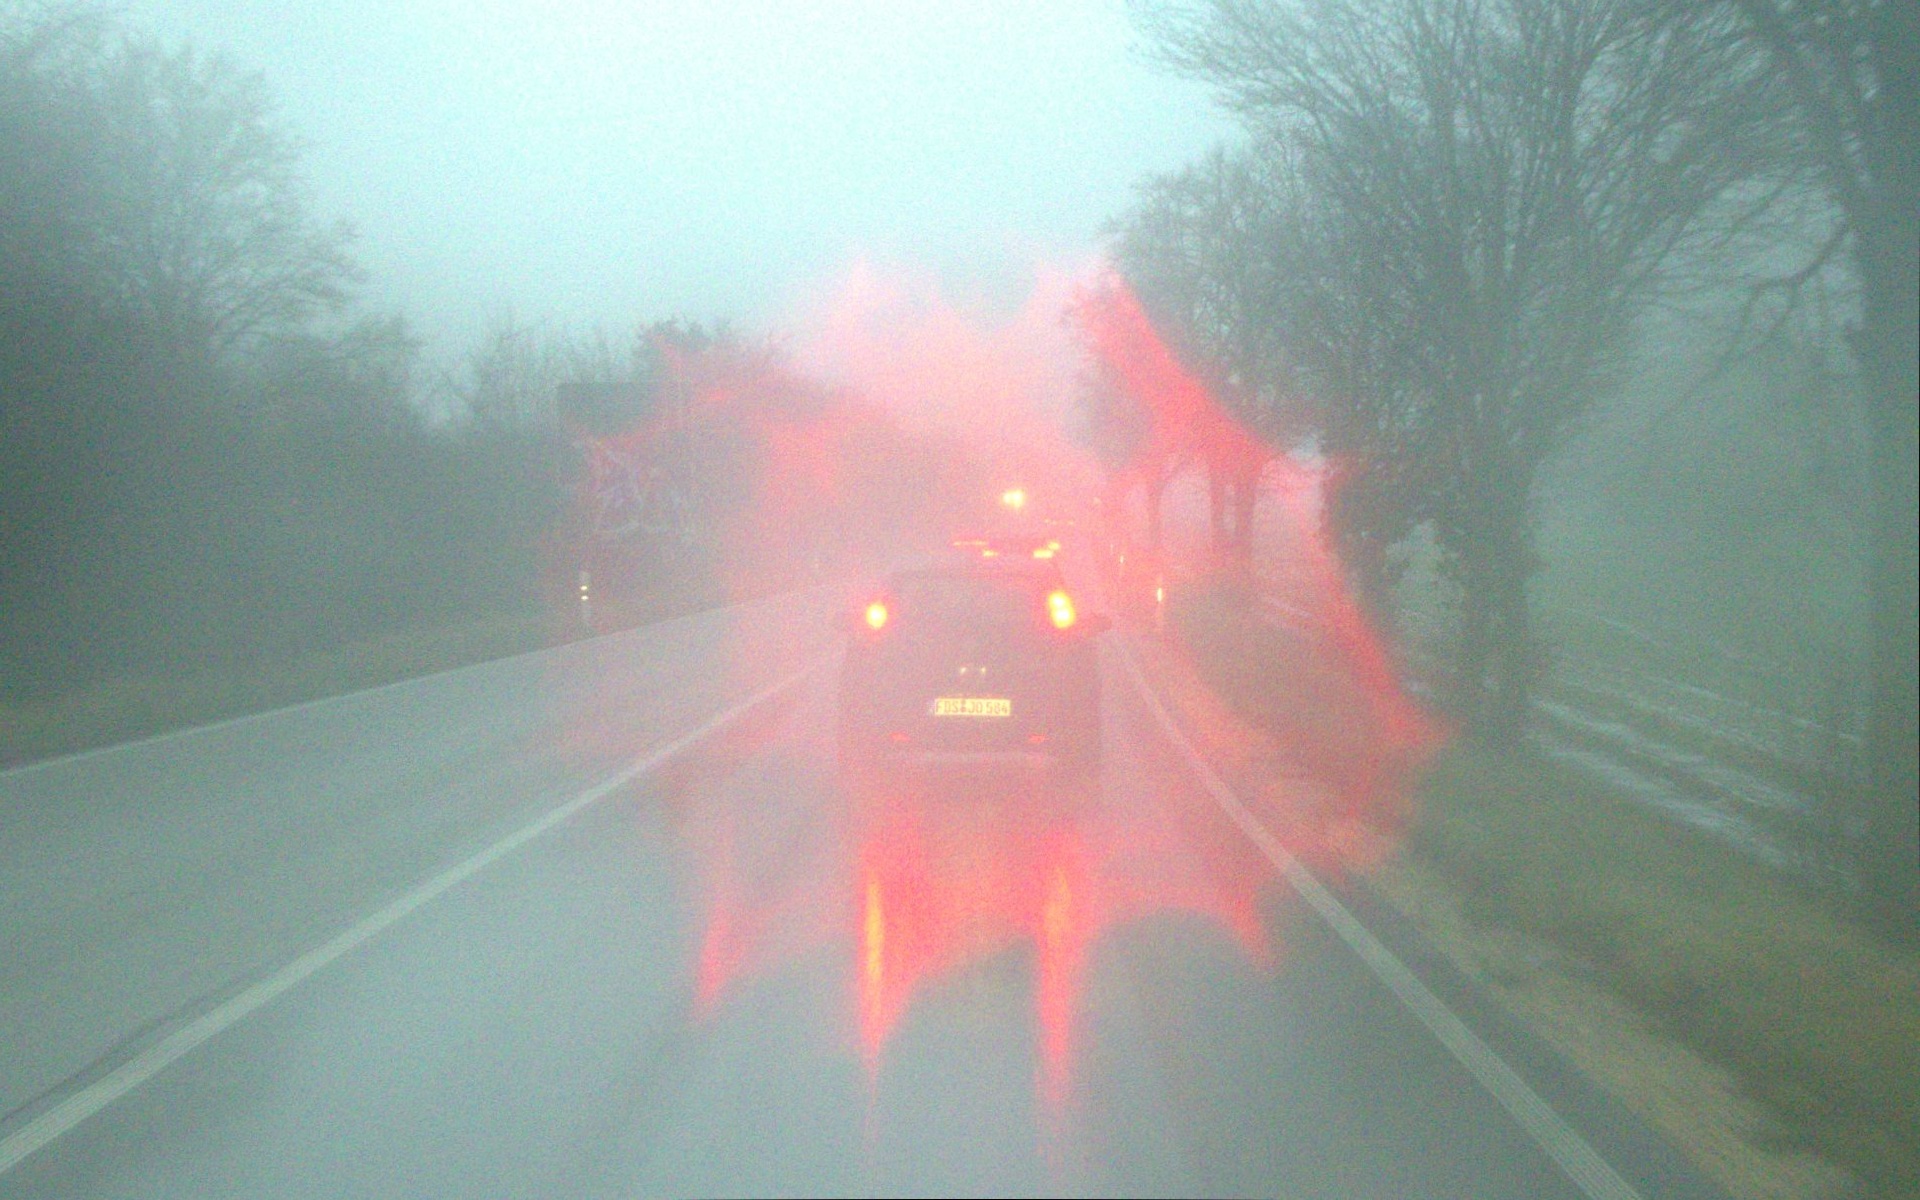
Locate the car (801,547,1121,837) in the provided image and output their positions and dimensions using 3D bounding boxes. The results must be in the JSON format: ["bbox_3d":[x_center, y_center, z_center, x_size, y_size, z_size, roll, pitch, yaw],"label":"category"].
[{"bbox_3d":[0.080,0.545,23.448,1.993,1.746,4.000,0,2,2],"label":"car"}]

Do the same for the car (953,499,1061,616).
[{"bbox_3d":[1.069,-0.962,75.840,1.994,2.006,4.001,5,7,3],"label":"car"}]
